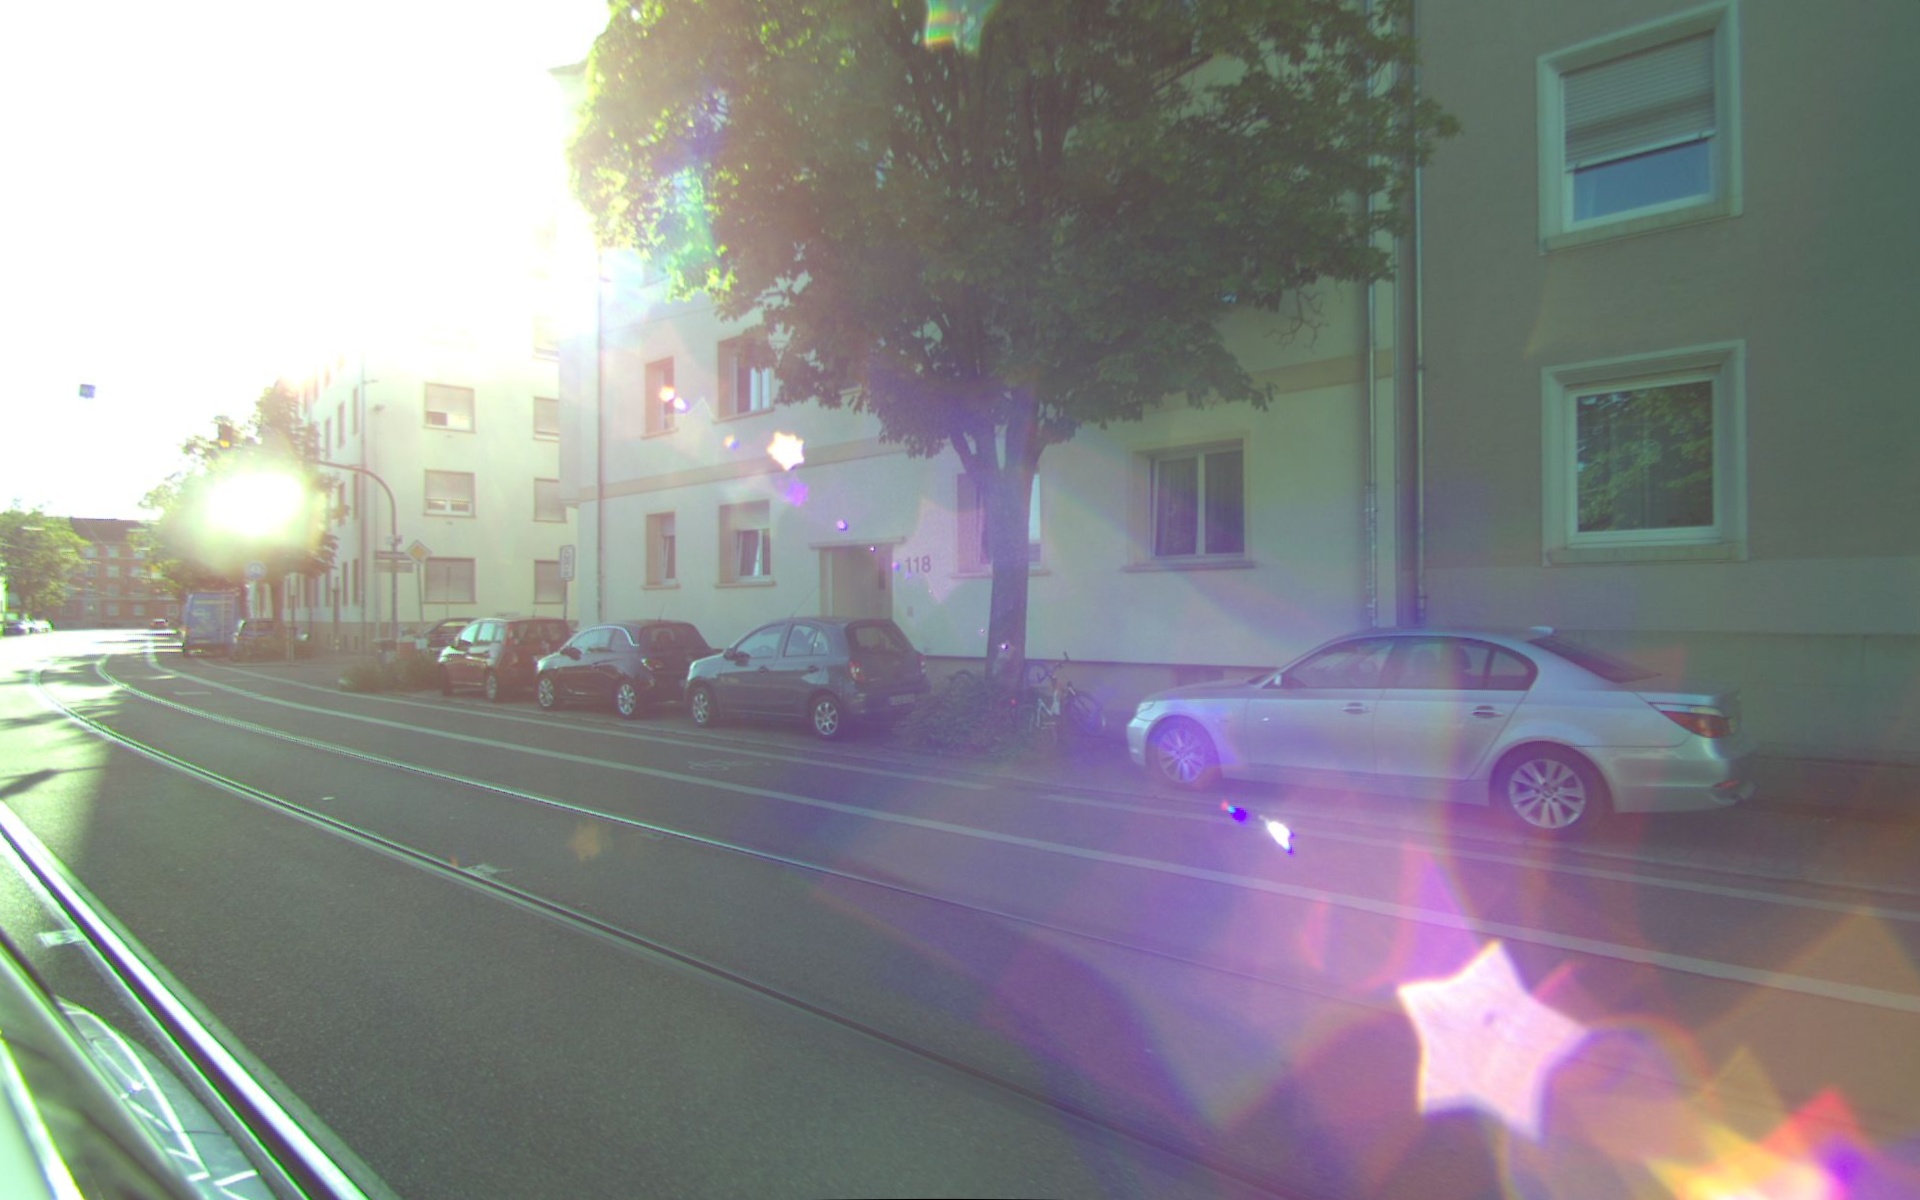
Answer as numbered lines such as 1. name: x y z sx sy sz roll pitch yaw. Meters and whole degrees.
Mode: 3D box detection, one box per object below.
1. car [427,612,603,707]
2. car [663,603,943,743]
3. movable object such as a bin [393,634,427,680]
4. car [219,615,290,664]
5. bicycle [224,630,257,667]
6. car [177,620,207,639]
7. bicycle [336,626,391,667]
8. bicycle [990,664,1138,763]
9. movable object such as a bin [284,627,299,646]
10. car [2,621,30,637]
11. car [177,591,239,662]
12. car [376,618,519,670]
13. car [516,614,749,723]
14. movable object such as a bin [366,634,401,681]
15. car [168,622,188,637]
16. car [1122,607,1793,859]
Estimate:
1. car: -8.491 1.039 19.135 4.002 1.541 1.669 -1 1 45
2. car: -2.190 0.896 13.707 3.725 1.626 1.576 -1 0 37
3. movable object such as a bin: -12.382 1.269 22.785 0.660 0.995 0.479 -1 0 44
4. car: -26.577 1.426 38.062 1.769 1.572 4.650 -5 3 -39
5. bicycle: -23.397 1.558 32.882 2.032 1.143 0.506 -1 0 44
6. car: -64.882 2.493 85.513 1.841 1.501 4.670 -1 0 -39
7. bicycle: -19.538 1.515 33.165 0.398 1.238 1.485 3 3 42
8. bicycle: 1.180 1.186 11.003 0.477 0.831 2.106 -1 0 40
9. movable object such as a bin: -33.765 1.830 51.112 0.588 0.941 0.569 1 -1 -42
10. car: -95.323 2.919 102.220 1.680 1.493 4.667 3 -3 -39
11. car: -32.399 1.089 43.548 1.991 2.847 6.044 -1 0 -38
12. car: -16.786 1.390 33.219 3.840 1.469 1.770 -2 0 -43
13. car: -5.350 1.008 16.343 3.853 1.541 1.769 -1 -1 39
14. movable object such as a bin: -12.761 1.265 22.392 0.660 0.995 0.479 -1 0 44
15. car: -83.706 3.151 108.298 1.552 1.516 4.008 -1 0 -39
16. car: 3.772 0.843 8.320 4.659 1.486 1.670 -1 0 43
